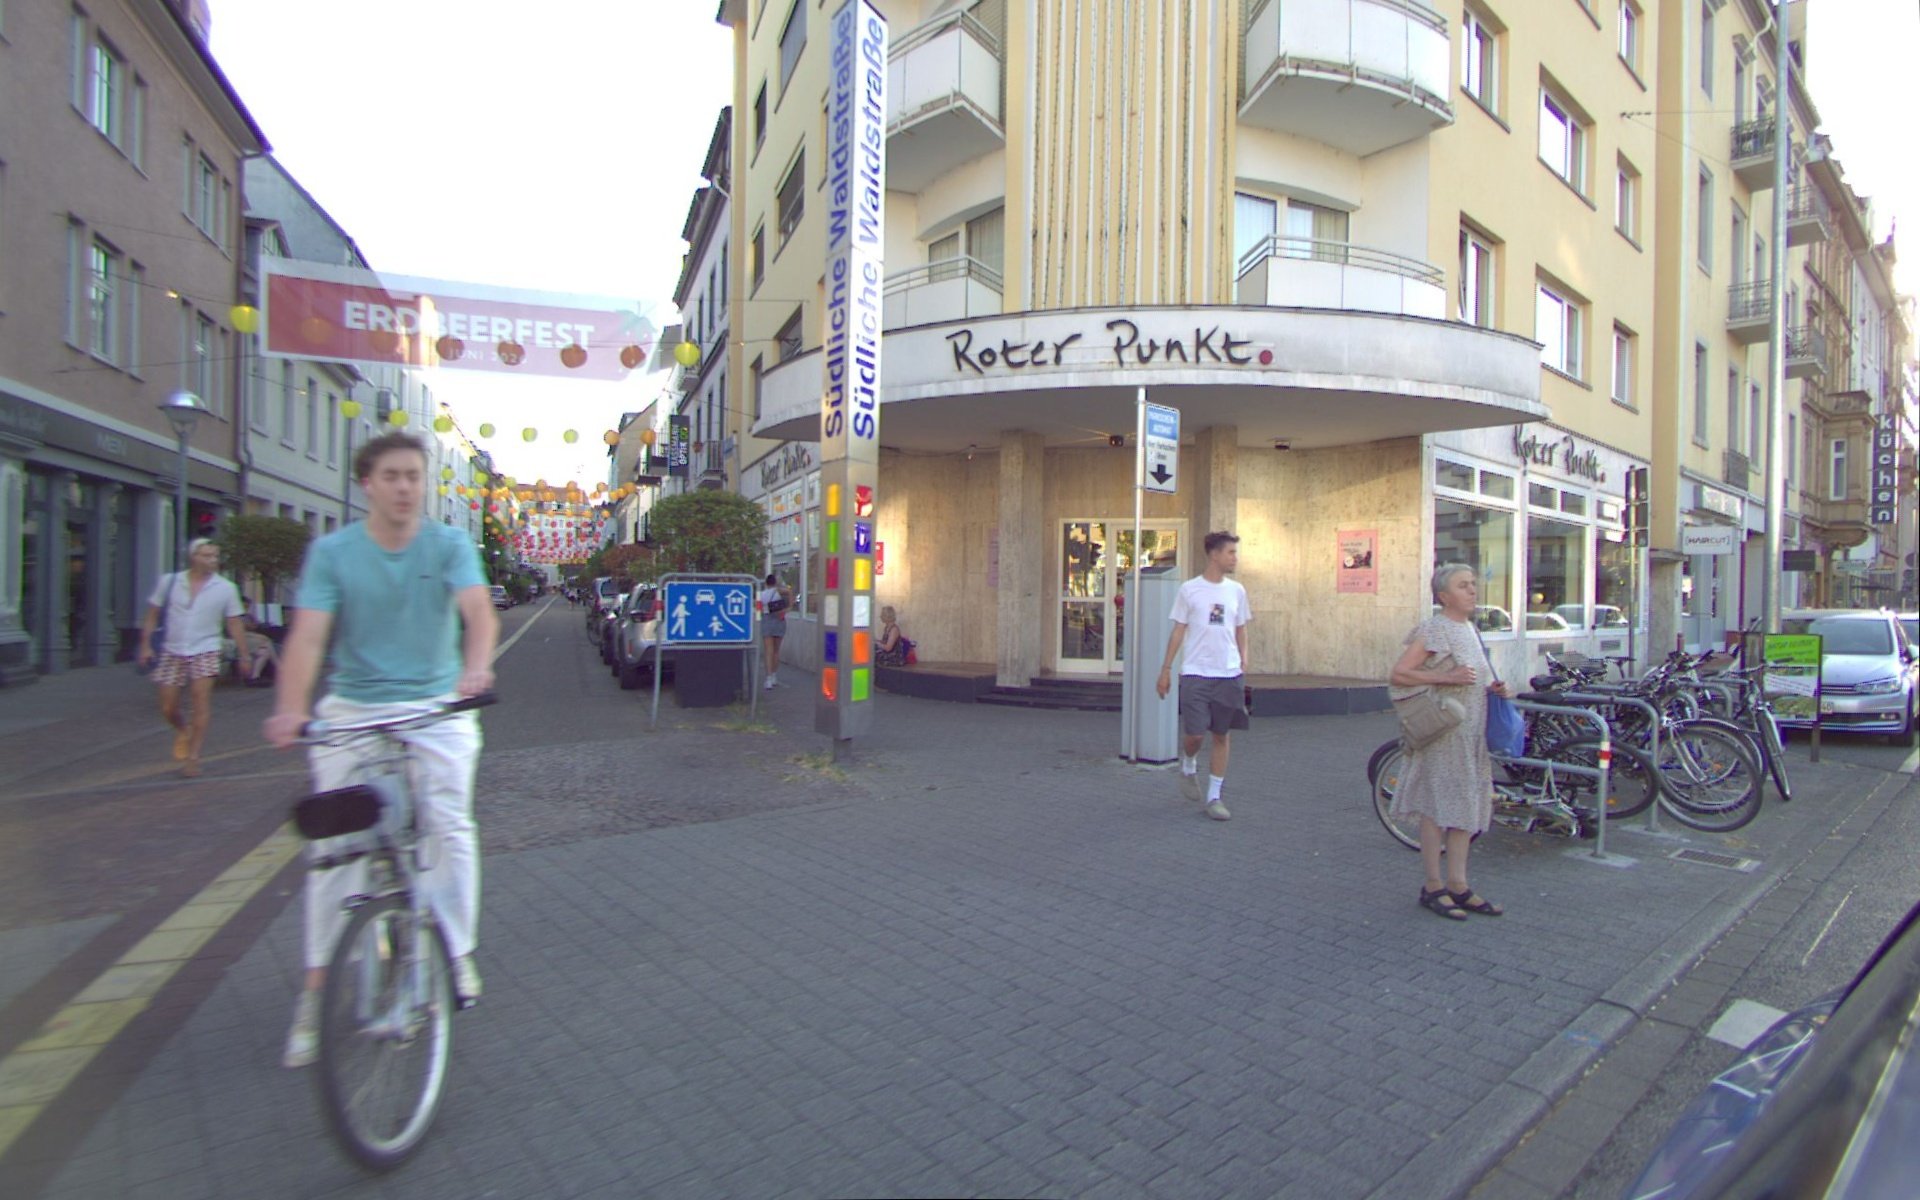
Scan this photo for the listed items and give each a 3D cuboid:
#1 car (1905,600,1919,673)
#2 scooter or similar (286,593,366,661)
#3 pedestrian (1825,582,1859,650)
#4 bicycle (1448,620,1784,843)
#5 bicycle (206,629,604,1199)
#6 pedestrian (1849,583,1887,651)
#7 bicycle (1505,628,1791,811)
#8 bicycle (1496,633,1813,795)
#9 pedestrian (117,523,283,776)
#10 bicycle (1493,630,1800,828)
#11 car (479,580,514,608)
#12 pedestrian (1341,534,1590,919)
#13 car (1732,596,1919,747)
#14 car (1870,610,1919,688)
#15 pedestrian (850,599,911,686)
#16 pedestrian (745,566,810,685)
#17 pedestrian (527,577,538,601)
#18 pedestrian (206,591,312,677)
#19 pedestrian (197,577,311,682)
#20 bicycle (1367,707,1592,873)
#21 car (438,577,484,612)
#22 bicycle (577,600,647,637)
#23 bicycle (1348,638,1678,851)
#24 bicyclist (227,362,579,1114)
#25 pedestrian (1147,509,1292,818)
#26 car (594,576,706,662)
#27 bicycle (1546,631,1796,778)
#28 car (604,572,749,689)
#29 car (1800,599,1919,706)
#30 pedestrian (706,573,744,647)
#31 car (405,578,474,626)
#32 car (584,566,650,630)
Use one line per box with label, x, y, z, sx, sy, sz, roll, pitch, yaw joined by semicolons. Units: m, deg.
car;24.488;0.874;24.578;4.353;1.695;1.875;0;0;-42
scooter or similar;-11.550;0.481;18.439;1.283;1.199;0.394;1;0;8
pedestrian;27.001;0.477;30.987;0.836;2.039;0.673;1;0;-42
bicycle;4.447;0.810;6.965;1.843;1.255;0.629;2;1;43
bicycle;-1.700;0.738;3.052;0.778;1.201;1.827;1;1;-32
pedestrian;27.486;0.504;30.637;0.836;2.039;0.762;1;0;-42
bicycle;5.380;0.873;8.009;1.778;1.187;0.614;3;1;38
bicycle;5.953;0.907;8.774;2.168;1.088;0.794;3;1;42
pedestrian;-5.910;0.337;7.866;1.096;1.797;0.814;1;1;41
bicycle;5.011;0.877;7.487;1.778;1.187;0.614;3;1;37
car;-27.850;-0.343;60.910;1.598;1.605;3.661;1;0;-20
pedestrian;2.362;0.547;4.832;0.765;1.674;0.792;1;0;1
car;11.601;0.785;13.265;4.605;1.637;1.699;0;0;-44
car;20.286;0.962;20.890;4.530;1.475;1.736;0;0;-42
pedestrian;-1.147;0.595;14.544;0.691;1.200;0.638;0;0;-25
pedestrian;-2.701;0.358;14.941;0.740;1.690;0.734;0;0;-30
pedestrian;-33.573;-0.864;79.464;0.774;1.907;0.863;1;0;-25
pedestrian;-10.658;0.512;15.391;1.207;1.245;0.890;3;-2;-41
pedestrian;-10.135;0.421;14.527;1.207;1.430;0.890;3;-2;-41
bicycle;3.099;1.072;6.021;1.003;0.690;1.035;2;1;39
car;-24.403;-0.272;49.600;1.598;1.605;3.661;1;0;-20
bicycle;-9.241;0.489;26.898;1.678;0.966;0.592;1;1;-6
bicycle;3.572;0.859;6.617;1.778;1.077;0.709;3;1;38
bicyclist;-1.688;0.333;3.066;0.815;1.849;0.836;1;0;-34
pedestrian;1.702;0.366;6.567;0.816;1.839;0.866;1;0;20
car;-6.615;0.324;21.256;1.905;1.605;4.451;1;1;-21
bicycle;6.617;0.929;9.508;1.840;1.137;0.587;3;2;38
car;-4.647;0.396;16.200;1.797;1.612;3.997;1;1;-22
car;16.089;0.825;17.504;4.130;1.641;1.819;0;0;-42
pedestrian;-5.494;0.220;23.637;0.740;1.690;0.803;0;0;-23
car;-18.280;0.069;35.668;1.598;1.605;3.661;1;0;-18
car;-12.004;-0.098;35.291;1.878;2.109;4.008;1;1;-23
